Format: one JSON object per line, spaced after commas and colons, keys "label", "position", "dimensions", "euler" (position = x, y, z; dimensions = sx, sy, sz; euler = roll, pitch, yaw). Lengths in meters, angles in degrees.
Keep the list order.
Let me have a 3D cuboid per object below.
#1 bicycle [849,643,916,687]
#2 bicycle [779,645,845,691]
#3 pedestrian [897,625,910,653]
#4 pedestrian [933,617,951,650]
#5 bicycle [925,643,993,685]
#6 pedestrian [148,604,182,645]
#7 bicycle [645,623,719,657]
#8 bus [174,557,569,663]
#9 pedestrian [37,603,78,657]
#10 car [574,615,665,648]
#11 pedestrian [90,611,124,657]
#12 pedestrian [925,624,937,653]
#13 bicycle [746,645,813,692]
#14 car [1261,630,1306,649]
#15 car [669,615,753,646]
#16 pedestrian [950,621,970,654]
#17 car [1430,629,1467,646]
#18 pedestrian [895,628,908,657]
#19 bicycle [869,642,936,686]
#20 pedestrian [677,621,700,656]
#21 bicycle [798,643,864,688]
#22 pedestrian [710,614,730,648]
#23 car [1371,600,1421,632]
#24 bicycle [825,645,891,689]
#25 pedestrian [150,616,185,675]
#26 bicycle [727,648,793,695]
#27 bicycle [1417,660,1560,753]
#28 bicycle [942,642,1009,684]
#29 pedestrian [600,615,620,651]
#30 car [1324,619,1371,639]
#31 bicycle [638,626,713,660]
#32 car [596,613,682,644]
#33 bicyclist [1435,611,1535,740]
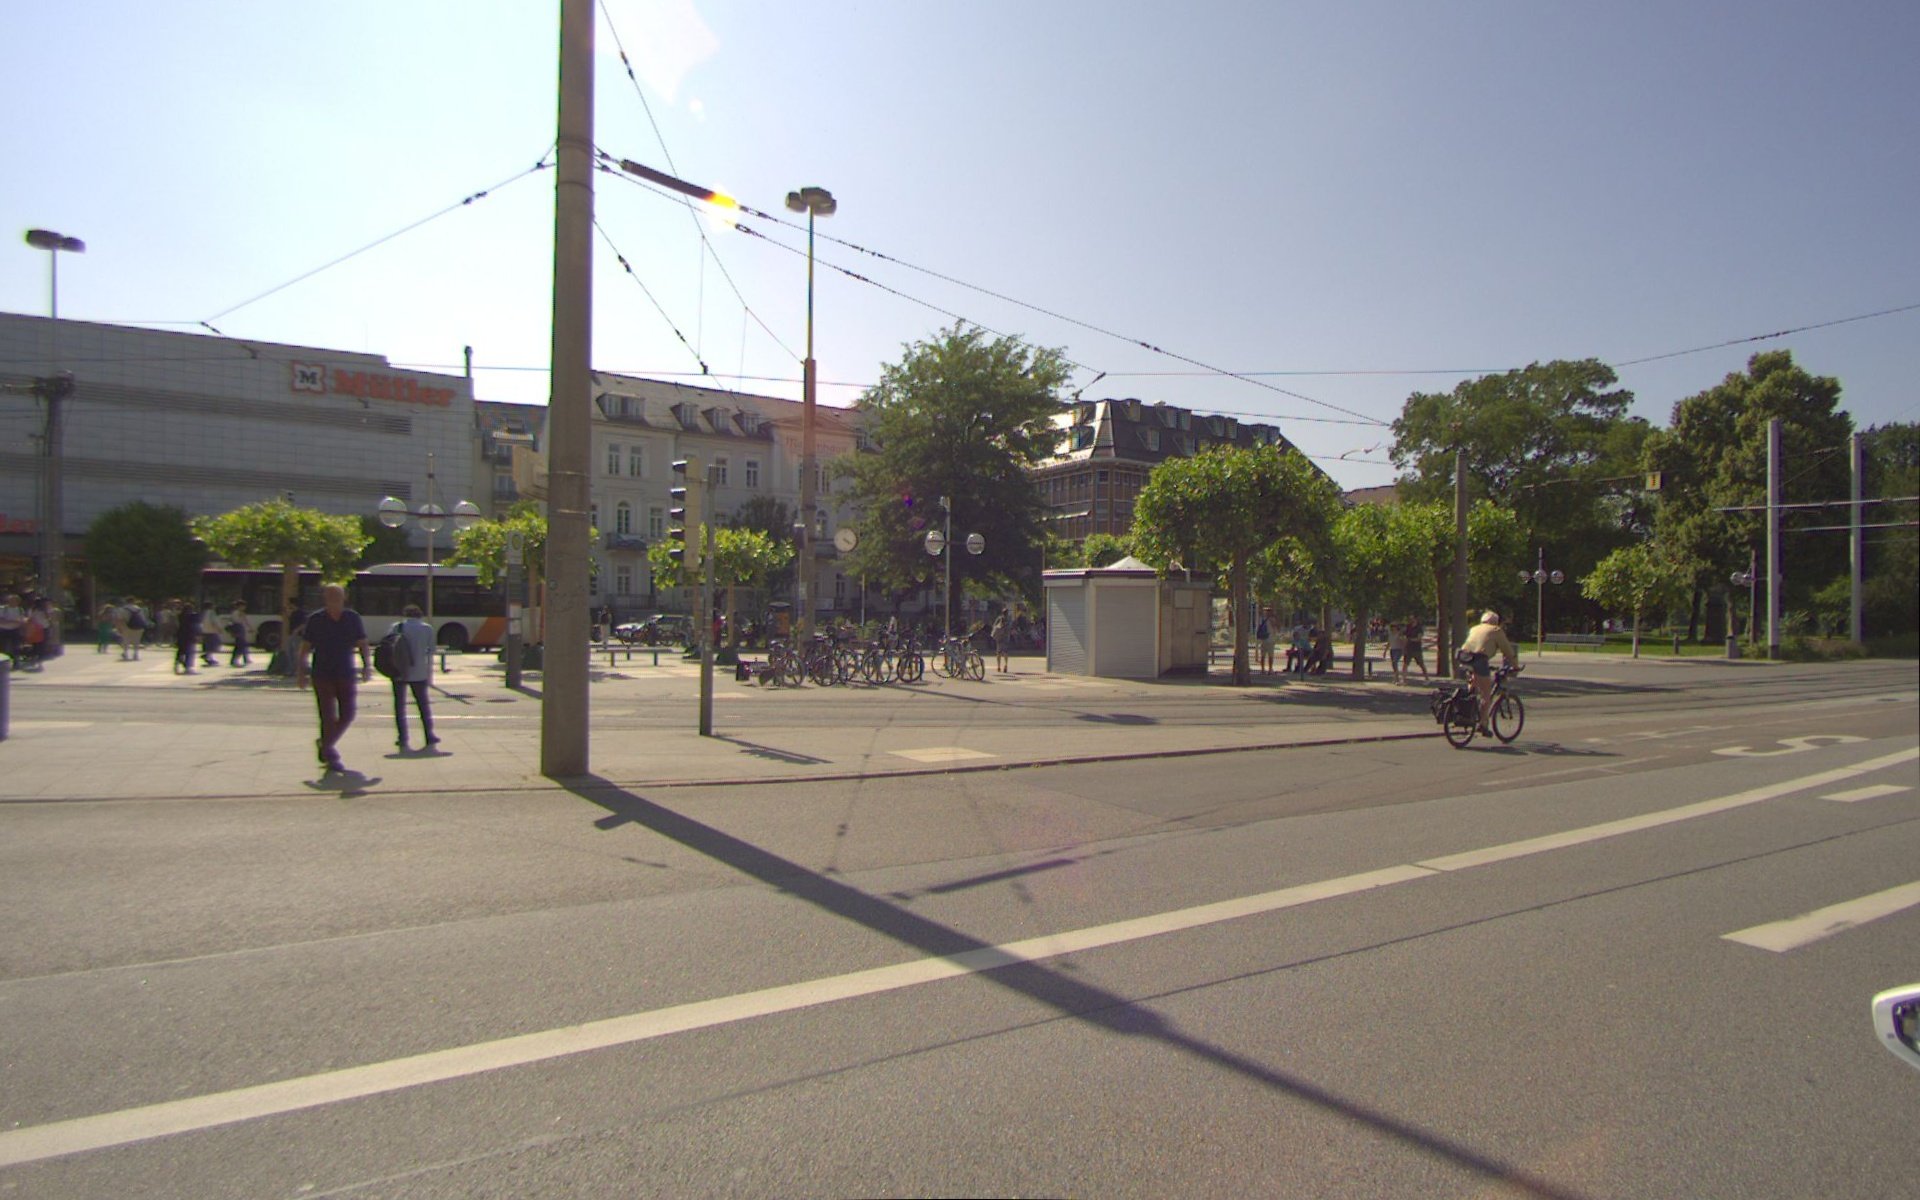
{"label": "bicycle", "position": [-1.861, 1.525, 23.869], "dimensions": [0.542, 0.868, 1.847], "euler": [1, 1, -42]}
{"label": "bicycle", "position": [-3.399, 1.529, 22.892], "dimensions": [0.542, 0.868, 1.847], "euler": [1, 1, -42]}
{"label": "pedestrian", "position": [-2.550, 1.760, 45.266], "dimensions": [0.445, 1.279, 0.517], "euler": [-1, -2, -15]}
{"label": "pedestrian", "position": [-0.799, 1.499, 45.561], "dimensions": [0.669, 1.485, 0.623], "euler": [1, -1, -17]}
{"label": "bicycle", "position": [-0.050, 1.556, 24.801], "dimensions": [0.577, 0.881, 1.847], "euler": [1, 1, -42]}
{"label": "pedestrian", "position": [-31.041, 0.950, 39.223], "dimensions": [0.669, 1.569, 0.846], "euler": [-3, -2, 33]}
{"label": "bicycle", "position": [-12.696, 1.827, 45.946], "dimensions": [3.091, 1.397, 0.821], "euler": [2, 1, 0]}
{"label": "bus", "position": [-21.338, 0.391, 37.321], "dimensions": [12.240, 3.466, 3.060], "euler": [1, 1, -11]}
{"label": "pedestrian", "position": [-25.483, 0.851, 28.376], "dimensions": [0.613, 1.484, 0.680], "euler": [-2, -2, 26]}
{"label": "car", "position": [-16.997, 1.542, 50.206], "dimensions": [3.962, 1.528, 1.743], "euler": [1, 1, -36]}
{"label": "pedestrian", "position": [-28.359, 1.130, 33.396], "dimensions": [0.613, 1.484, 0.680], "euler": [-2, -2, 26]}
{"label": "pedestrian", "position": [-1.311, 1.745, 45.267], "dimensions": [0.445, 1.279, 0.517], "euler": [-1, -2, -14]}
{"label": "bicycle", "position": [-4.076, 1.518, 22.606], "dimensions": [0.579, 0.883, 1.847], "euler": [1, 1, -42]}
{"label": "car", "position": [28.367, 3.431, 88.034], "dimensions": [3.962, 1.528, 1.743], "euler": [1, 1, -36]}
{"label": "car", "position": [-13.174, 1.592, 53.140], "dimensions": [3.962, 1.528, 1.743], "euler": [1, 1, -36]}
{"label": "pedestrian", "position": [-0.017, 1.724, 45.651], "dimensions": [0.671, 1.484, 0.621], "euler": [0, -2, -26]}
{"label": "car", "position": [49.759, 3.796, 102.256], "dimensions": [3.962, 1.528, 1.743], "euler": [1, 1, -36]}
{"label": "pedestrian", "position": [-2.618, 1.904, 45.038], "dimensions": [0.445, 1.279, 0.517], "euler": [-1, -2, -14]}
{"label": "bicycle", "position": [-1.408, 1.525, 24.242], "dimensions": [0.577, 0.881, 1.847], "euler": [1, 1, -42]}
{"label": "pedestrian", "position": [-11.806, 1.689, 43.623], "dimensions": [0.735, 1.484, 0.782], "euler": [0, -3, -35]}
{"label": "bicycle", "position": [-3.006, 1.498, 23.257], "dimensions": [0.542, 0.868, 1.847], "euler": [1, 1, -42]}
{"label": "pedestrian", "position": [-10.579, 1.380, 44.301], "dimensions": [0.620, 1.484, 0.577], "euler": [1, -3, -42]}
{"label": "car", "position": [46.851, 1.714, 107.889], "dimensions": [5.358, 3.361, 2.115], "euler": [1, 1, -31]}
{"label": "bicycle", "position": [-2.404, 1.550, 23.562], "dimensions": [0.542, 0.868, 1.847], "euler": [1, 1, -42]}
{"label": "pedestrian", "position": [-20.337, 1.157, 25.785], "dimensions": [0.671, 1.484, 0.621], "euler": [-3, -3, 44]}
{"label": "bicycle", "position": [-4.431, 1.551, 22.164], "dimensions": [0.542, 0.868, 1.847], "euler": [1, 1, -42]}
{"label": "bicycle", "position": [7.047, 1.377, 13.382], "dimensions": [1.852, 1.135, 0.814], "euler": [1, -3, -30]}
{"label": "bicycle", "position": [0.371, 1.561, 25.207], "dimensions": [0.577, 0.881, 1.847], "euler": [1, 1, -42]}
{"label": "pedestrian", "position": [-14.451, 1.361, 41.468], "dimensions": [0.578, 1.484, 0.559], "euler": [-3, -3, 41]}
{"label": "car", "position": [35.906, 2.693, 93.057], "dimensions": [4.798, 1.685, 1.743], "euler": [1, 1, -36]}
{"label": "bicycle", "position": [-12.657, 1.896, 44.758], "dimensions": [3.091, 1.397, 0.821], "euler": [2, 1, 0]}
{"label": "car", "position": [-16.948, 1.483, 53.112], "dimensions": [3.962, 1.528, 1.743], "euler": [1, 1, -36]}
{"label": "bicyclist", "position": [6.970, 0.971, 13.342], "dimensions": [0.892, 1.643, 0.814], "euler": [0, -1, -30]}
